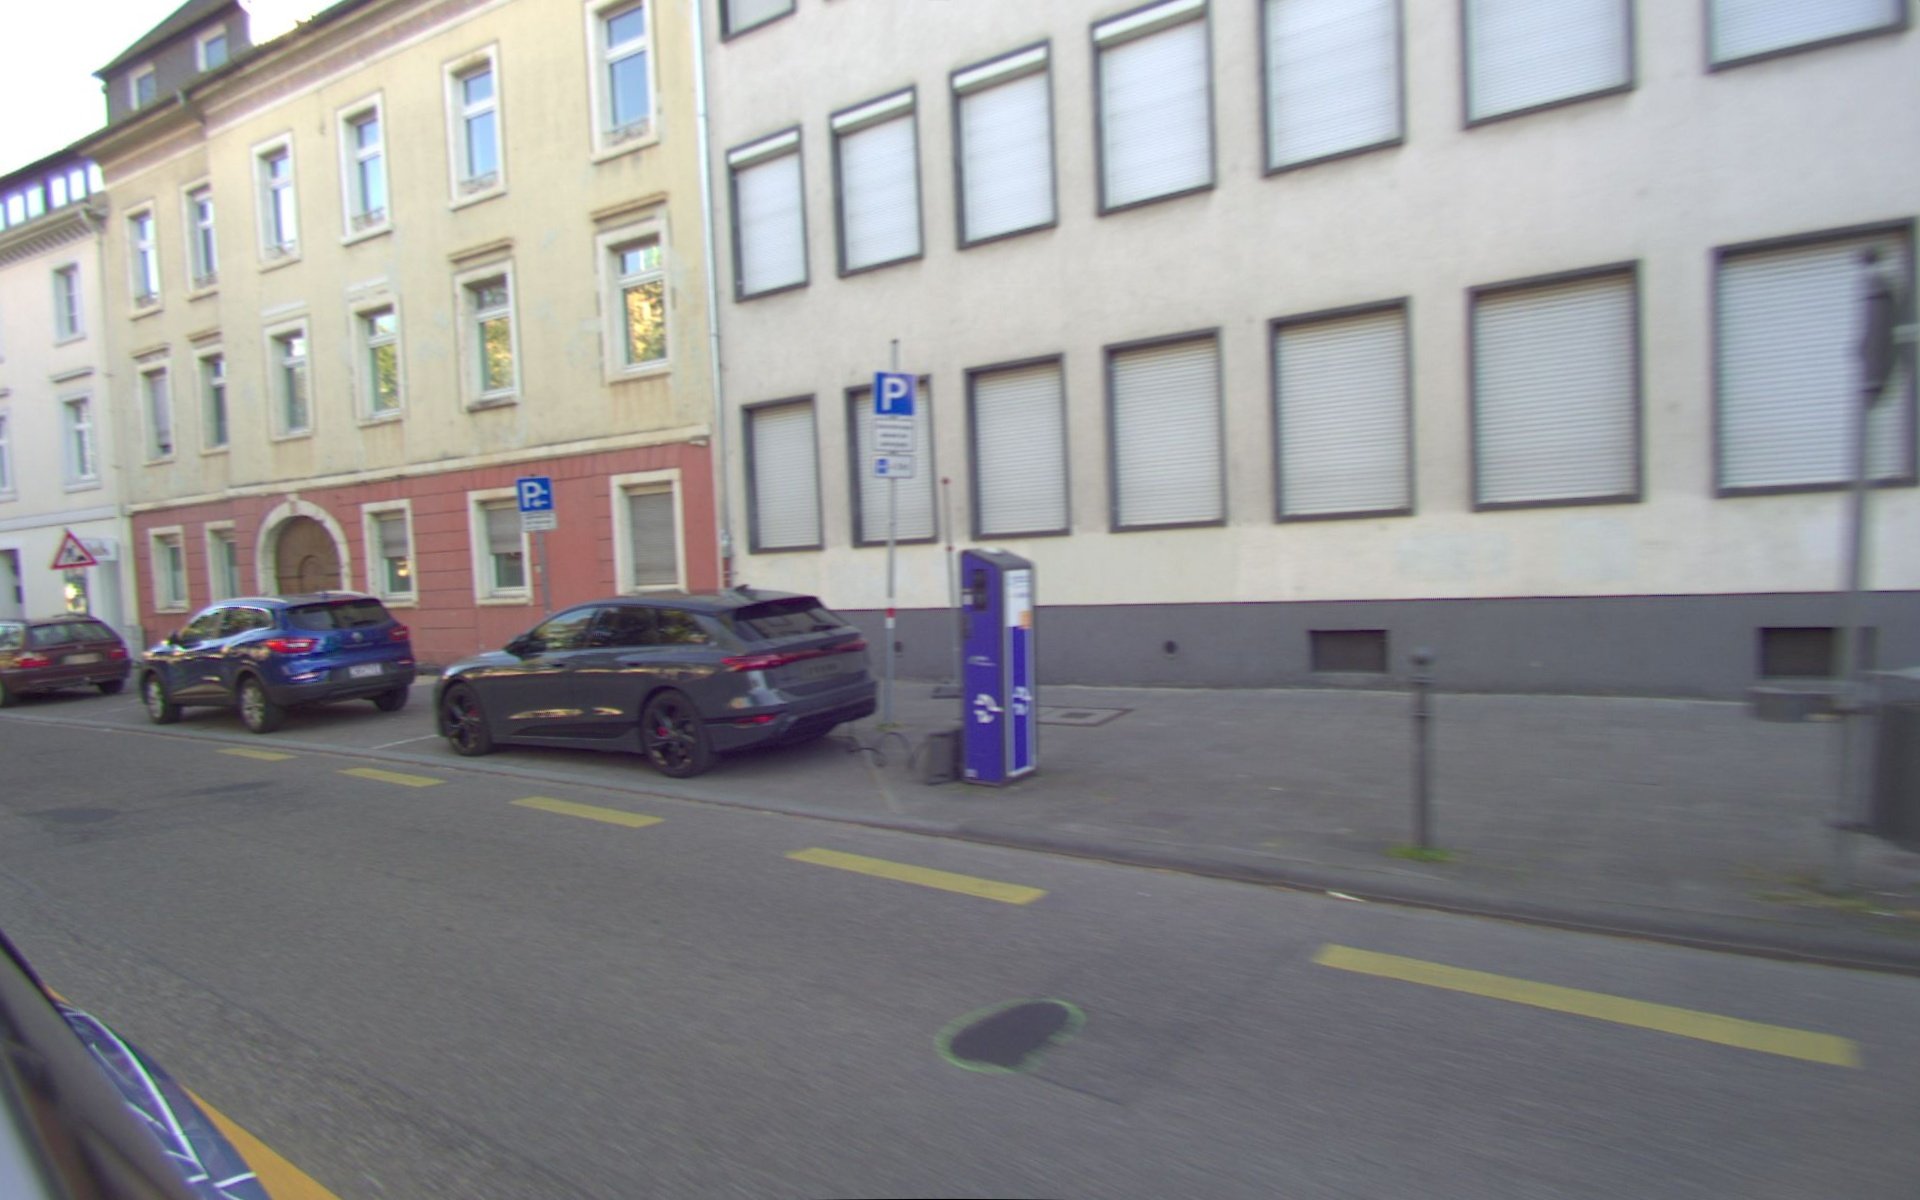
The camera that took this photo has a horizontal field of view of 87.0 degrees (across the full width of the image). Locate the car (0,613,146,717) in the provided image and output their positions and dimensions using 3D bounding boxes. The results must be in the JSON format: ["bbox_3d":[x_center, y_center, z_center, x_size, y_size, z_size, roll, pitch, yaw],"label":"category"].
[{"bbox_3d":[-16.399,1.105,17.667,4.172,1.498,1.757,-2,3,26],"label":"car"}]

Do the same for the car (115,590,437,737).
[{"bbox_3d":[-8.980,0.772,13.230,4.138,1.583,1.789,-2,2,30],"label":"car"}]

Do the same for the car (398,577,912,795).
[{"bbox_3d":[-2.984,0.694,9.559,4.770,1.518,1.863,-2,3,31],"label":"car"}]
